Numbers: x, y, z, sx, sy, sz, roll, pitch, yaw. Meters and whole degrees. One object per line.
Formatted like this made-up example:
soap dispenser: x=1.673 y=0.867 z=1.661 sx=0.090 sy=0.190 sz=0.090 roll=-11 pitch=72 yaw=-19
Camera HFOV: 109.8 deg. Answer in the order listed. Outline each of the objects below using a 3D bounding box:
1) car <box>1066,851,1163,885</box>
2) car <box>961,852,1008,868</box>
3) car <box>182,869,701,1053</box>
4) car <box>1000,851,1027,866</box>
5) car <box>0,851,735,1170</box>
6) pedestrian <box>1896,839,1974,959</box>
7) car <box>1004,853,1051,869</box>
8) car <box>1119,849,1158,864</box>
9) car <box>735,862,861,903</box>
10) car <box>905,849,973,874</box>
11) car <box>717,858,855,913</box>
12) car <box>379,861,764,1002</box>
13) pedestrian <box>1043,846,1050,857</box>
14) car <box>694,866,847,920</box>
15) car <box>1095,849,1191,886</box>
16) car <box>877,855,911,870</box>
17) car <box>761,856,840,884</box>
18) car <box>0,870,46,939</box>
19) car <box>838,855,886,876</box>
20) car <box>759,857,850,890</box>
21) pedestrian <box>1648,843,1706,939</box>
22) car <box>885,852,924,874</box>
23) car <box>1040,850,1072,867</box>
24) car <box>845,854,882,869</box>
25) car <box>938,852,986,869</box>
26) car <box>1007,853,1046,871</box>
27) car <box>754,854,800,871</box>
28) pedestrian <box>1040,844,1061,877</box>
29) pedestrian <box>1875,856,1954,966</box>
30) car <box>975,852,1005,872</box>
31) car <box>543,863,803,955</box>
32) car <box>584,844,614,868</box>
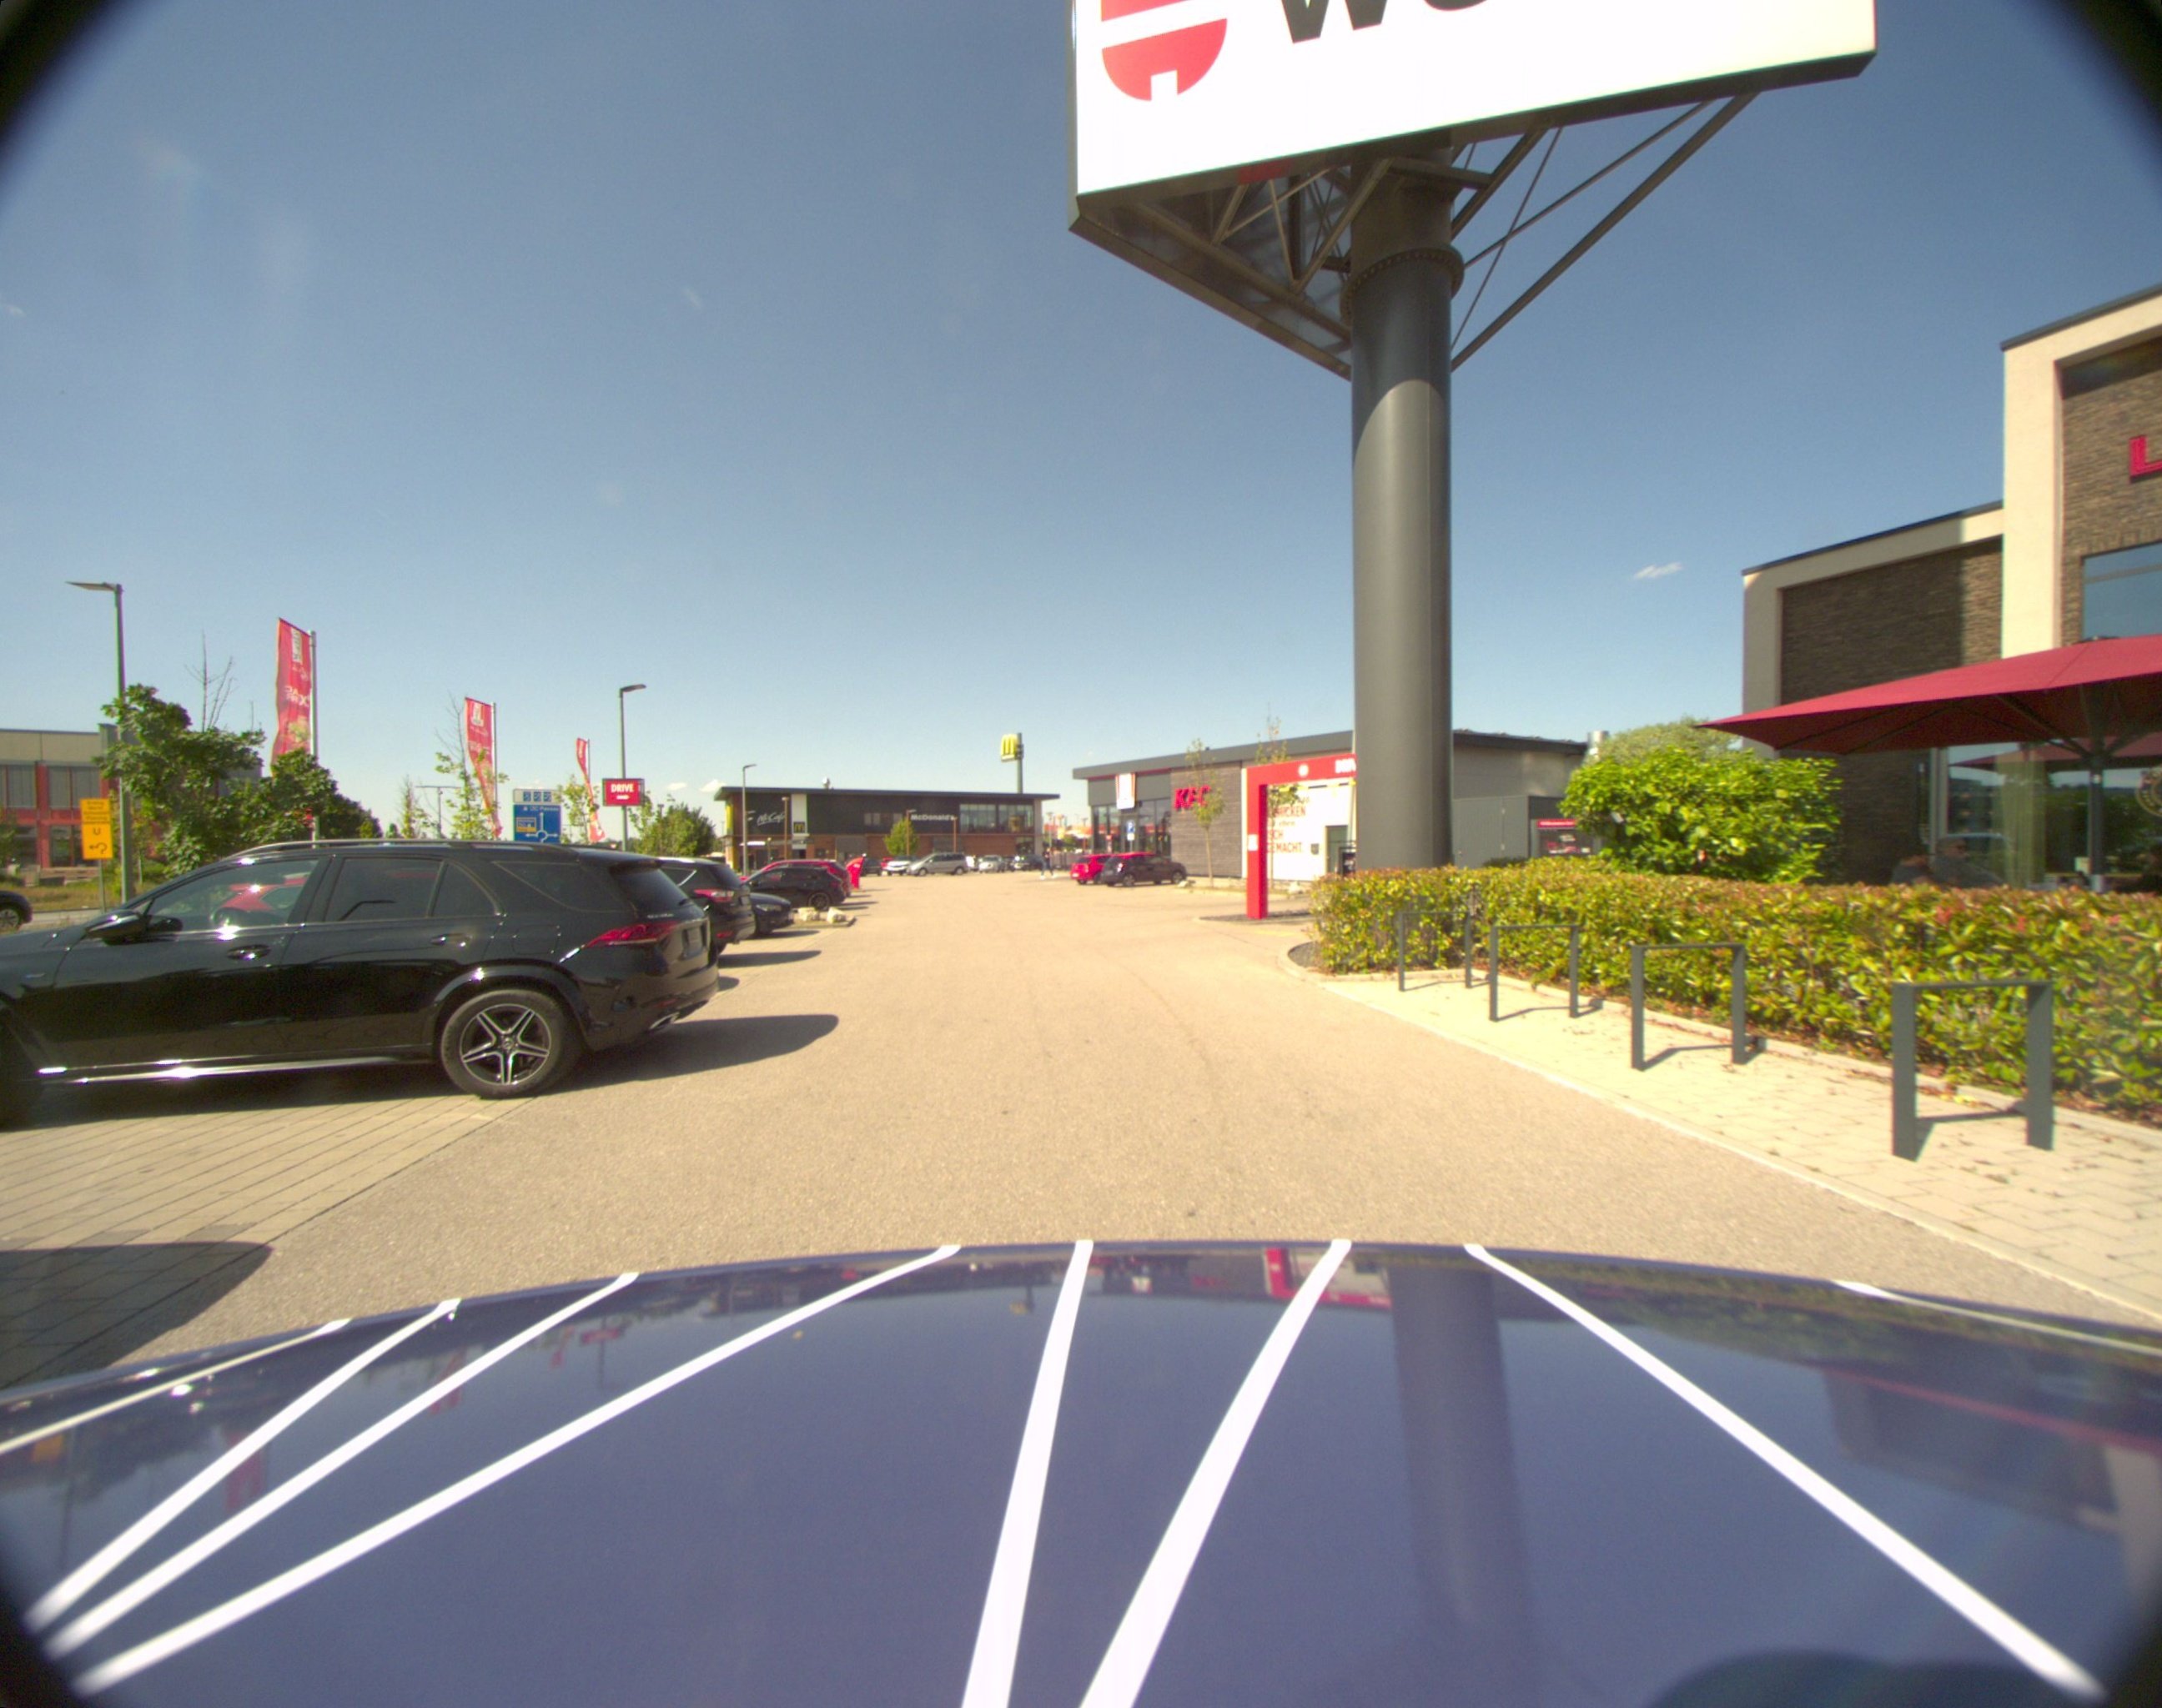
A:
car: x=1.623 y=0.641 z=36.536 sx=4.408 sy=1.405 sz=1.736 roll=-2 pitch=1 yaw=-31
car: x=-9.316 y=0.580 z=73.709 sx=4.106 sy=1.506 sz=1.815 roll=-1 pitch=1 yaw=17
car: x=-6.856 y=1.056 z=8.724 sx=4.083 sy=1.599 sz=1.893 roll=-2 pitch=0 yaw=-14
car: x=-7.865 y=0.526 z=88.974 sx=1.714 sy=1.603 sz=4.041 roll=-1 pitch=0 yaw=16
car: x=-5.287 y=0.929 z=5.605 sx=4.591 sy=1.750 sz=1.893 roll=-2 pitch=1 yaw=-11
pedestrian: x=10.098 y=0.506 z=9.004 sx=0.480 sy=1.359 sz=0.652 roll=-1 pitch=1 yaw=37
car: x=-5.266 y=0.705 z=75.017 sx=4.271 sy=1.478 sz=1.815 roll=-1 pitch=1 yaw=17
car: x=6.216 y=0.298 z=82.091 sx=3.992 sy=1.543 sz=1.756 roll=-1 pitch=0 yaw=14
car: x=-11.452 y=1.119 z=30.915 sx=4.606 sy=1.405 sz=1.737 roll=-2 pitch=1 yaw=-21
car: x=-10.683 y=0.563 z=57.257 sx=4.690 sy=1.738 sz=1.829 roll=-1 pitch=1 yaw=-29
car: x=-10.041 y=1.032 z=26.250 sx=4.234 sy=1.628 sz=1.948 roll=-2 pitch=1 yaw=-16
car: x=-7.269 y=1.031 z=11.388 sx=4.334 sy=1.693 sz=1.893 roll=-2 pitch=1 yaw=-13
pedestrian: x=-4.792 y=-0.304 z=105.351 sx=0.700 sy=1.550 sz=0.723 roll=-1 pitch=0 yaw=33
car: x=-9.570 y=1.152 z=23.670 sx=4.210 sy=1.402 sz=1.770 roll=-2 pitch=1 yaw=-21
car: x=2.788 y=0.573 z=34.041 sx=3.914 sy=1.498 sz=1.736 roll=-2 pitch=1 yaw=-29
car: x=-20.248 y=0.897 z=82.498 sx=1.960 sy=1.457 sz=4.470 roll=-1 pitch=0 yaw=8
car: x=-17.473 y=0.961 z=47.332 sx=4.486 sy=1.461 sz=1.829 roll=-2 pitch=1 yaw=-22
car: x=-27.660 y=1.277 z=17.351 sx=2.000 sy=1.722 sz=4.755 roll=-1 pitch=0 yaw=-10
car: x=-16.992 y=0.841 z=59.147 sx=1.972 sy=1.517 sz=4.210 roll=-1 pitch=0 yaw=9
car: x=-14.583 y=1.003 z=40.070 sx=4.357 sy=1.461 sz=1.829 roll=-2 pitch=1 yaw=-22
pedestrian: x=9.623 y=0.585 z=12.268 sx=0.526 sy=1.496 sz=0.568 roll=-1 pitch=1 yaw=-31
car: x=-14.055 y=0.713 z=60.725 sx=1.974 sy=1.645 sz=4.207 roll=-1 pitch=0 yaw=1
car: x=-2.173 y=0.375 z=67.852 sx=1.833 sy=1.451 sz=4.374 roll=-1 pitch=0 yaw=12
car: x=-23.310 y=0.777 z=81.567 sx=1.959 sy=1.593 sz=4.471 roll=-1 pitch=0 yaw=11
car: x=-11.213 y=0.647 z=71.812 sx=4.106 sy=1.484 sz=1.714 roll=-1 pitch=1 yaw=17
car: x=-4.693 y=0.690 z=65.981 sx=1.972 sy=1.478 sz=4.788 roll=-1 pitch=0 yaw=14
car: x=-32.019 y=0.862 z=80.172 sx=1.992 sy=1.681 sz=4.243 roll=0 pitch=0 yaw=25
pedestrian: x=-1.742 y=0.371 z=43.516 sx=0.727 sy=1.799 sz=0.992 roll=-3 pitch=2 yaw=-31
pedestrian: x=9.401 y=0.624 z=8.591 sx=0.480 sy=1.178 sz=0.652 roll=-1 pitch=0 yaw=37
car: x=-7.635 y=0.657 z=64.138 sx=1.974 sy=1.517 sz=4.207 roll=-1 pitch=0 yaw=1
car: x=-8.478 y=1.089 z=16.208 sx=4.451 sy=1.628 sz=1.894 roll=-2 pitch=1 yaw=-9
car: x=-47.529 y=0.215 z=74.994 sx=2.003 sy=2.184 sz=5.095 roll=-1 pitch=0 yaw=-27
